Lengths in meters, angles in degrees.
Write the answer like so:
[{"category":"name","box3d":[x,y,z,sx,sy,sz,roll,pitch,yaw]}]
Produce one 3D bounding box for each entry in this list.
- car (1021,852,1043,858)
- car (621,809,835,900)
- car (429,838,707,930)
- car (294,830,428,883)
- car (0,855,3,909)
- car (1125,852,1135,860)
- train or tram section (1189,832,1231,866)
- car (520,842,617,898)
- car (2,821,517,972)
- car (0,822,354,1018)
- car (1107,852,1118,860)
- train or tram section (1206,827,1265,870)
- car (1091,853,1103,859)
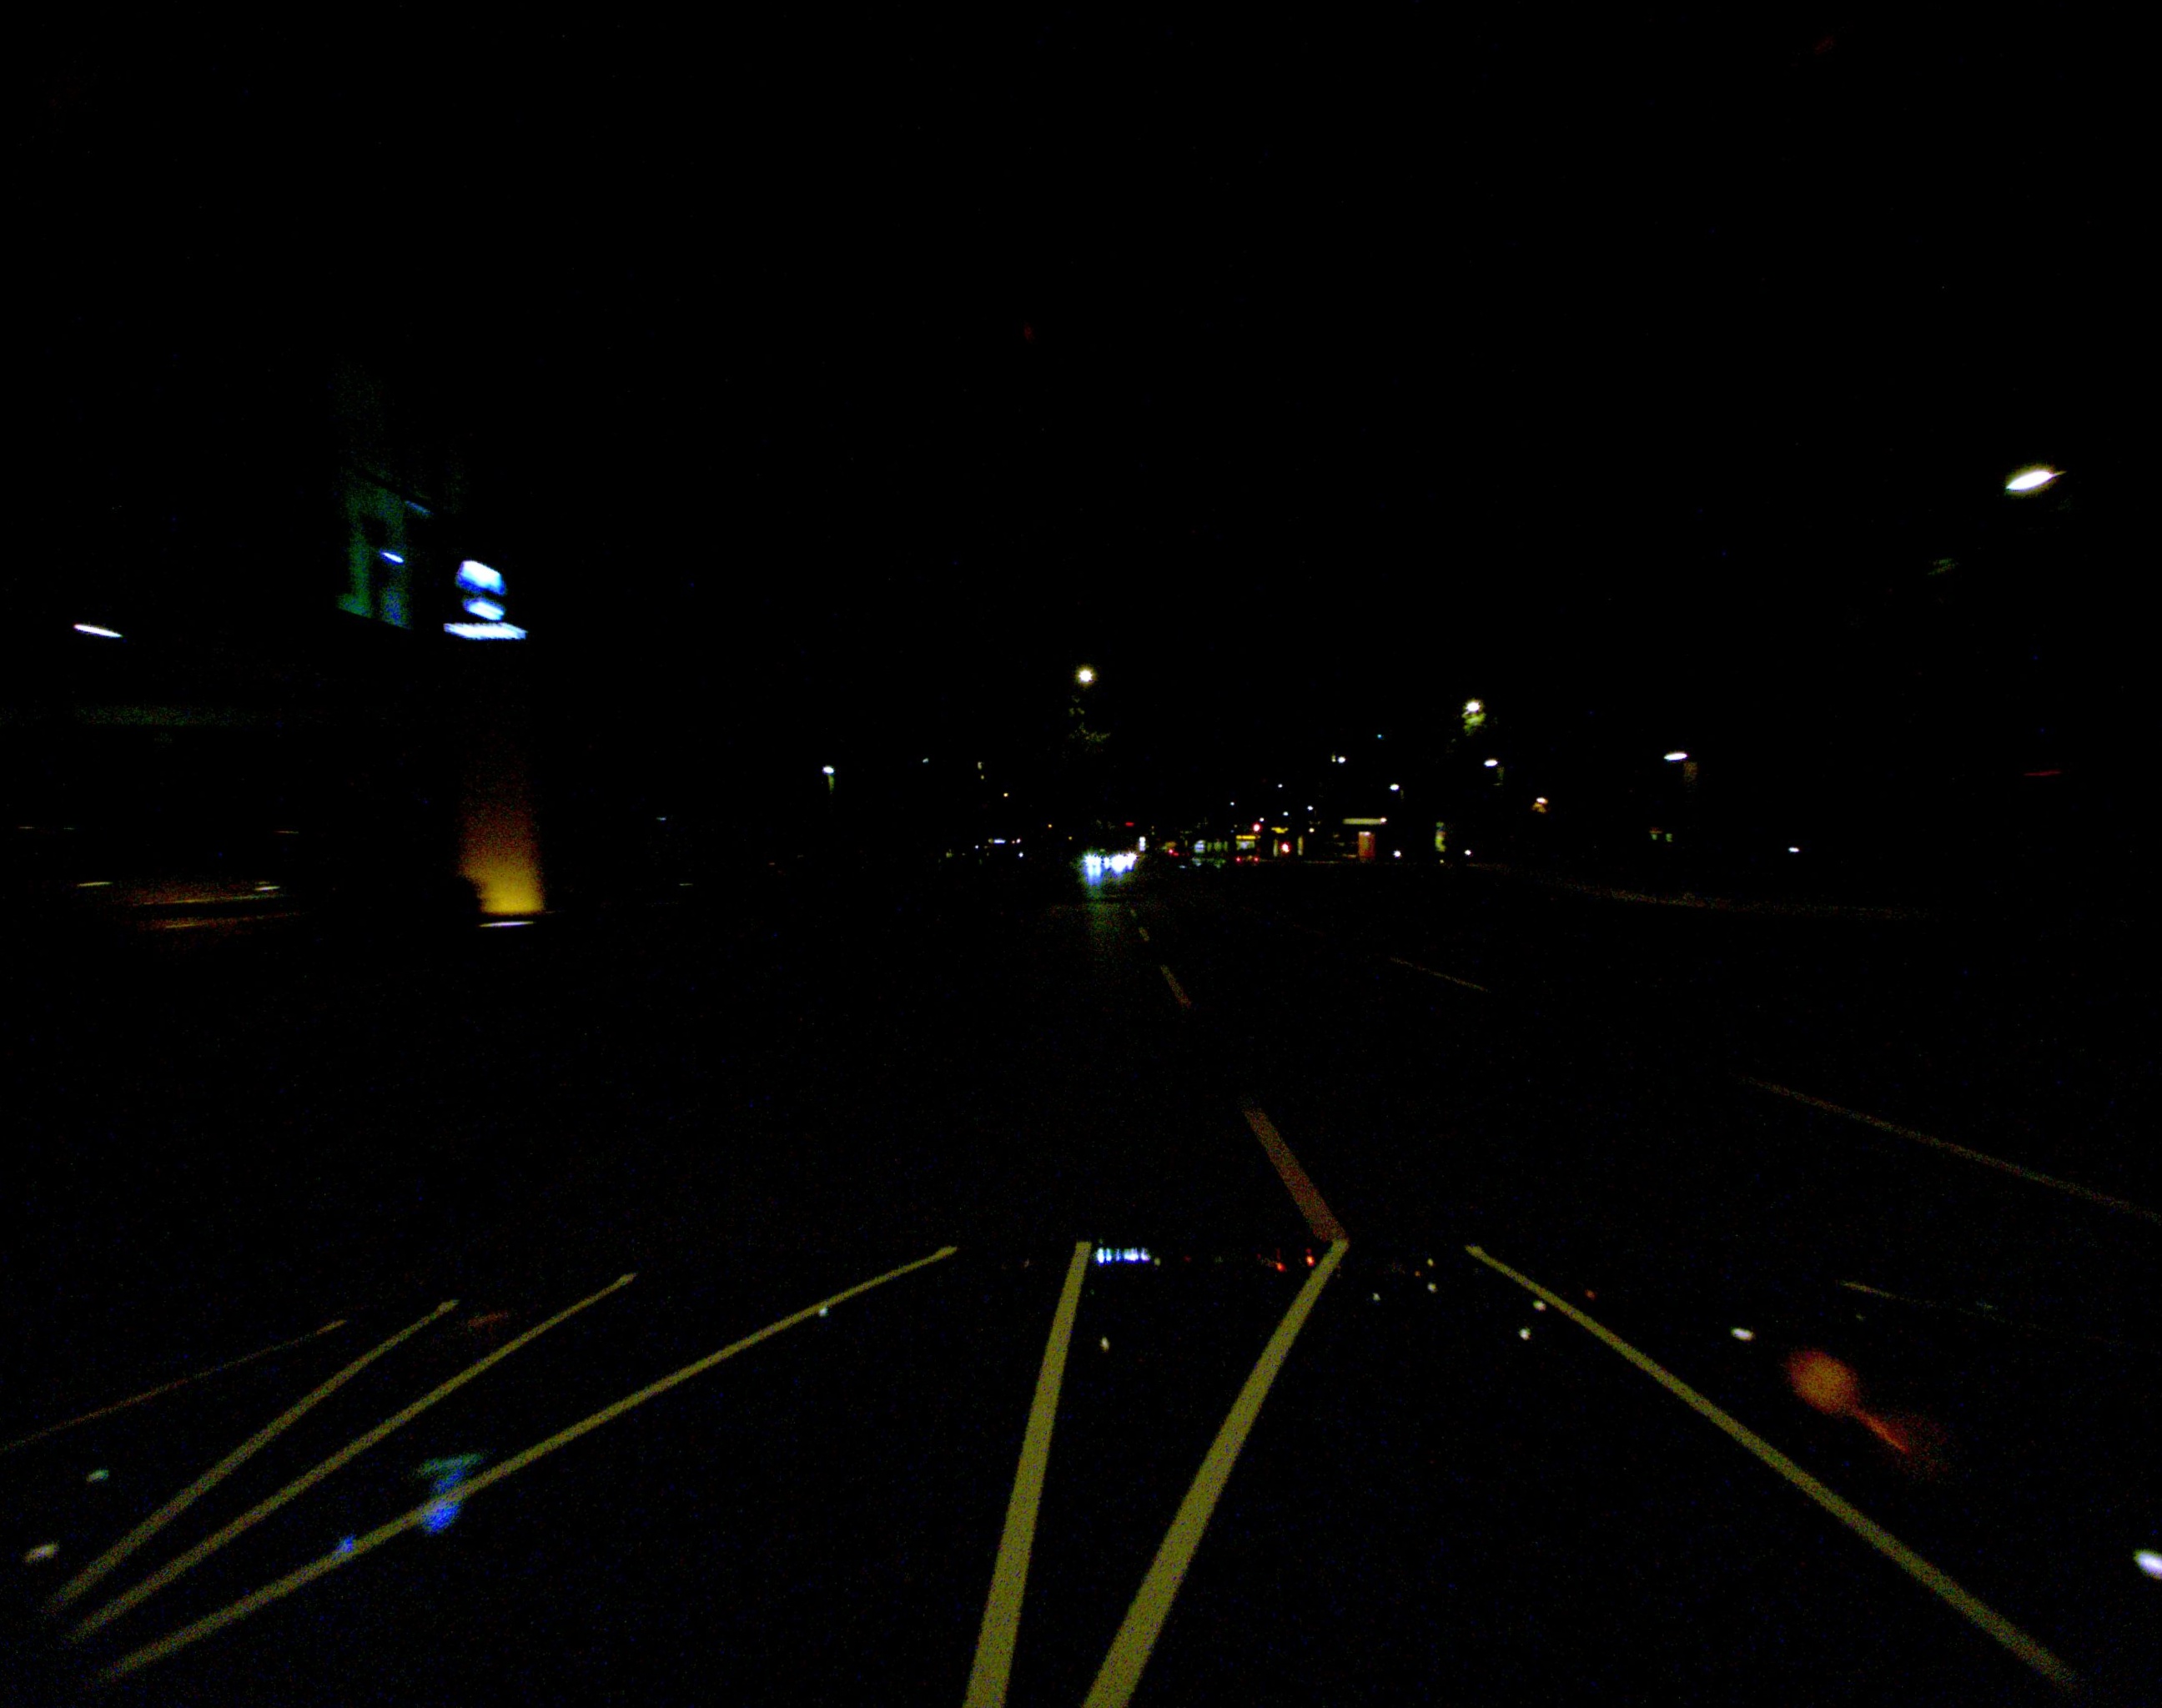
[{"category":"car","box3d":[-8.932,0.215,139.199,4.008,1.028,1.480,1,-1,-40]},{"category":"car","box3d":[-11.535,0.069,25.421,6.041,2.514,2.280,4,-1,-16]},{"category":"car","box3d":[-10.212,0.594,15.473,4.216,1.653,1.959,2,0,-10]},{"category":"car","box3d":[-23.251,0.073,24.730,1.801,1.568,3.960,1,0,-22]},{"category":"car","box3d":[-10.322,0.671,4.667,4.094,1.559,1.853,3,0,-10]},{"category":"car","box3d":[10.080,0.349,157.502,1.907,1.608,3.719,-1,1,2]},{"category":"train or tram section","box3d":[16.097,-0.612,96.567,2.745,3.823,19.365,-1,0,2]},{"category":"car","box3d":[-16.864,0.483,25.188,1.813,1.702,3.960,1,0,-21]},{"category":"car","box3d":[-10.828,0.568,10.442,4.475,1.799,1.998,1,0,-10]},{"category":"car","box3d":[-10.686,0.554,7.619,4.476,1.677,1.998,3,0,-10]},{"category":"car","box3d":[6.356,0.338,151.683,1.858,1.482,3.561,-1,0,8]},{"category":"train or tram section","box3d":[15.388,-0.534,77.585,2.765,3.804,18.671,-1,0,2]},{"category":"car","box3d":[3.153,0.388,152.099,1.947,1.299,3.907,1,0,8]}]
